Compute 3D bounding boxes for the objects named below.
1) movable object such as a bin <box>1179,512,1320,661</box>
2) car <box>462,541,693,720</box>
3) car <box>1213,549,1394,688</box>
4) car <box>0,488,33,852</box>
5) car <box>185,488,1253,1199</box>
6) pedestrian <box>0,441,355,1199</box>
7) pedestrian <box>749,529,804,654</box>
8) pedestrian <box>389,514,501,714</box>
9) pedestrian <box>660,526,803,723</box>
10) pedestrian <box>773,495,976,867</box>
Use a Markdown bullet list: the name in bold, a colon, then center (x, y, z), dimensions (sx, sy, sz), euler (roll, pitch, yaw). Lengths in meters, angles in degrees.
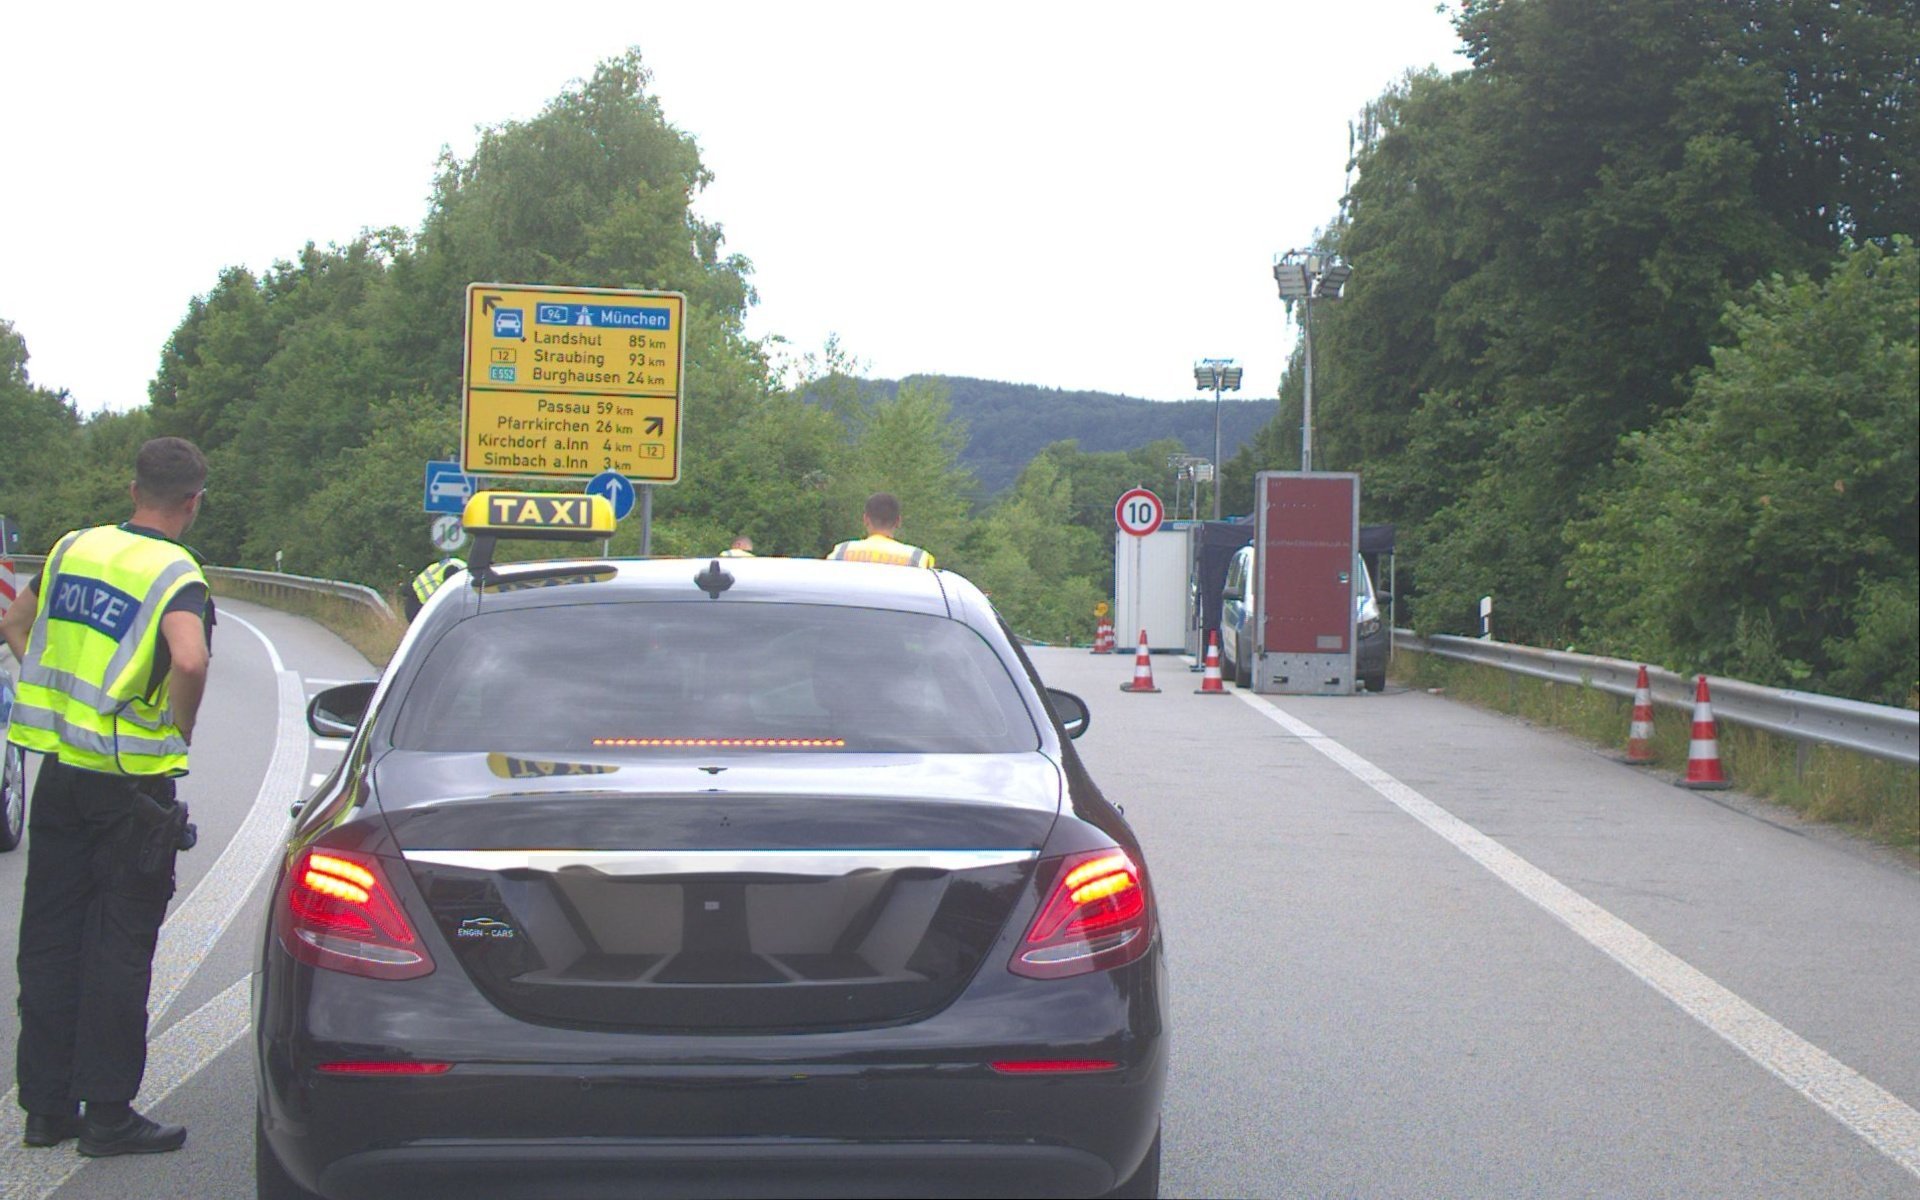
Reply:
- **movable object such as a bin**: center (4.587, -0.237, 54.901), dimensions (1.993, 2.272, 4.168), euler (1, 1, 2)
- **car**: center (-3.380, 0.226, 31.039), dimensions (1.855, 1.493, 4.257), euler (0, 1, -3)
- **car**: center (4.537, 0.193, 46.062), dimensions (1.916, 1.672, 5.083), euler (2, 1, 1)
- **car**: center (-5.415, 0.347, 15.134), dimensions (1.868, 1.737, 4.009), euler (0, 1, -5)
- **car**: center (-0.613, 0.572, 8.190), dimensions (1.855, 1.589, 4.376), euler (0, 1, -5)
- **pedestrian**: center (-2.028, 0.489, 8.312), dimensions (0.761, 1.712, 0.816), euler (1, 1, 37)
- **pedestrian**: center (-2.898, -0.141, 54.396), dimensions (0.664, 1.954, 0.759), euler (0, 1, 15)
- **pedestrian**: center (-4.628, 0.115, 30.942), dimensions (0.910, 1.763, 0.912), euler (1, 1, -3)
- **pedestrian**: center (-1.999, 0.205, 30.044), dimensions (0.908, 1.692, 0.914), euler (0, 0, -32)
- **pedestrian**: center (-0.422, 0.388, 17.332), dimensions (0.813, 1.824, 0.809), euler (0, 1, 16)
